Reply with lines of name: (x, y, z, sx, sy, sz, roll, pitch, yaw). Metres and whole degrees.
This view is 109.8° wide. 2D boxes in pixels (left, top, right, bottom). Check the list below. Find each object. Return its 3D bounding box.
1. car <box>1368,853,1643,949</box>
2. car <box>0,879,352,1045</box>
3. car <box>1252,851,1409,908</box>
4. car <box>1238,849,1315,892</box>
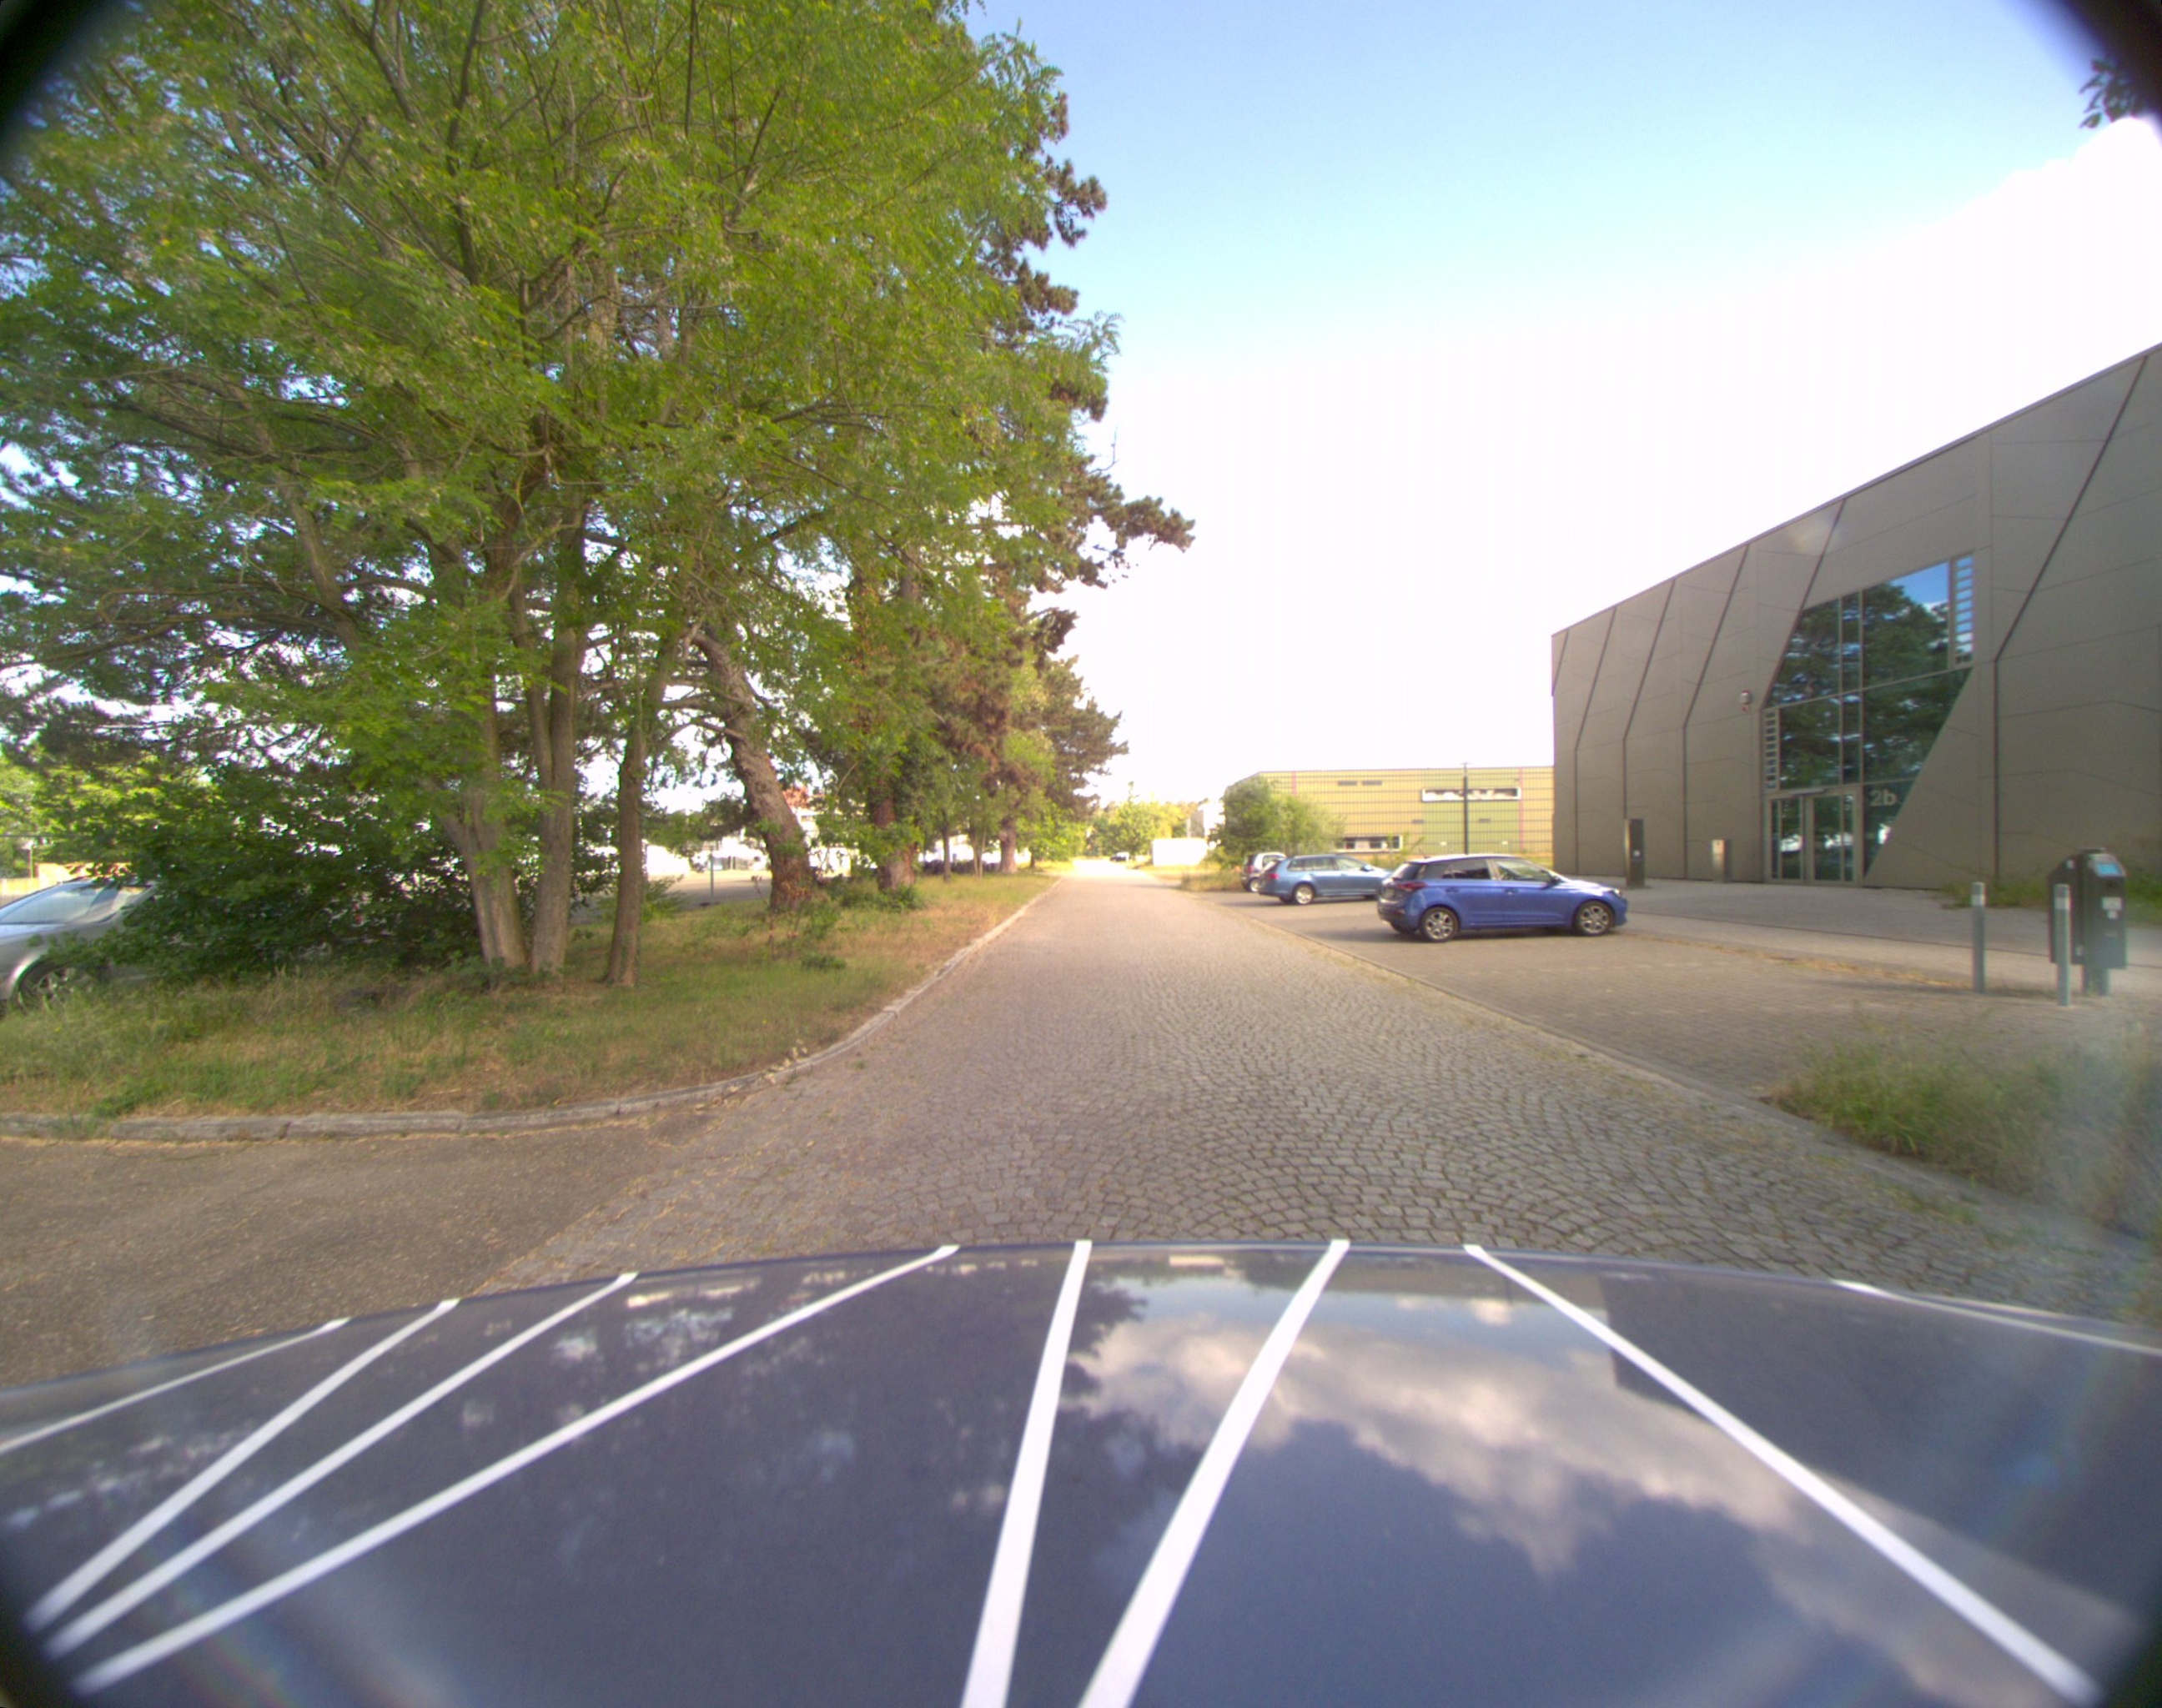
car: (7.459, 0.792, 13.667, 3.918, 1.459, 1.735, -2, 1, 3)
car: (-11.106, 1.098, 8.778, 1.578, 1.435, 3.985, -1, 0, -2)
car: (7.510, 0.742, 23.123, 4.179, 1.465, 1.734, -2, 1, -1)
car: (7.819, 0.655, 30.508, 2.652, 1.559, 1.481, -2, 1, 0)
